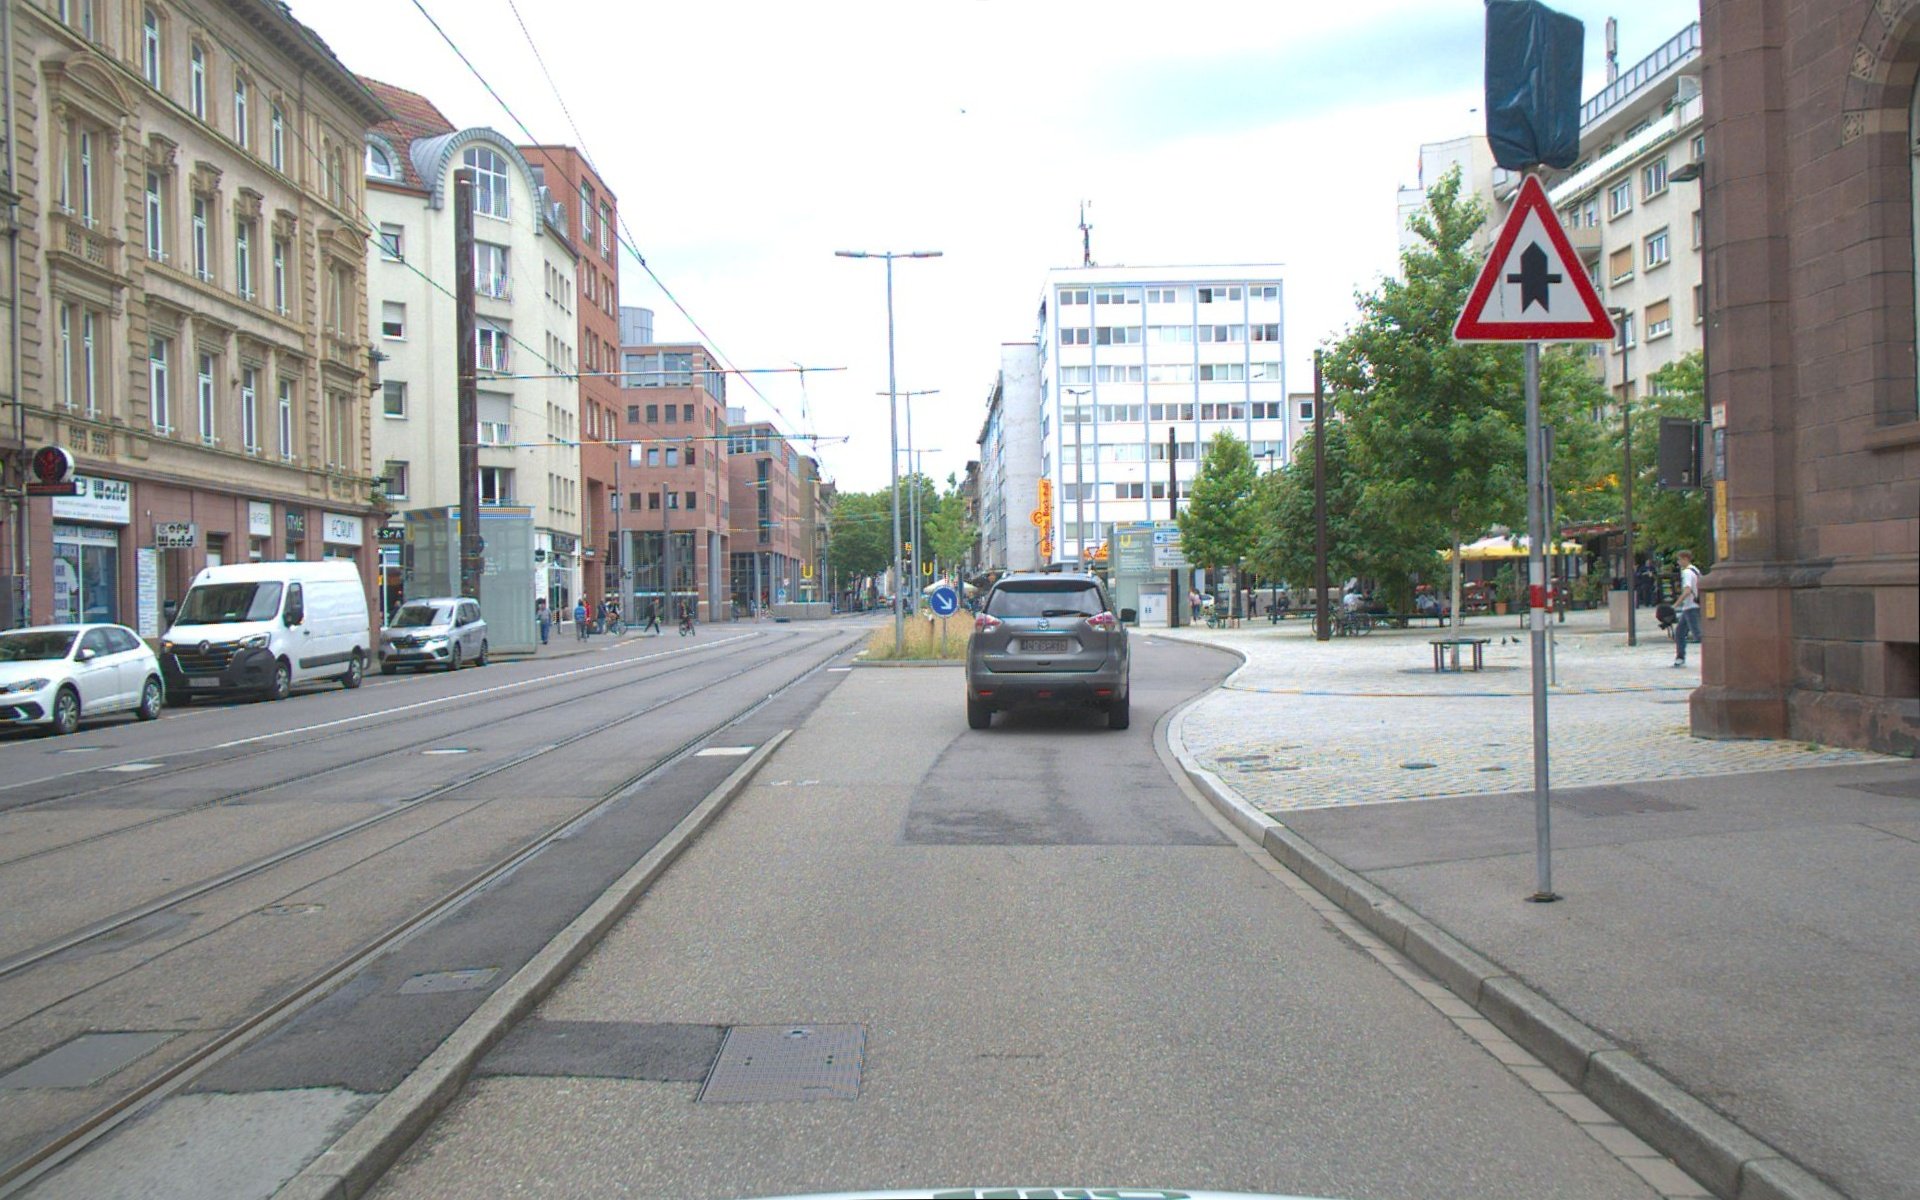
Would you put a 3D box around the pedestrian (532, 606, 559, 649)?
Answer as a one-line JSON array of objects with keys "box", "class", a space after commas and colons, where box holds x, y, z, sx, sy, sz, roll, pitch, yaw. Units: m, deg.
[{"box": [-16.698, 1.106, 66.629, 0.705, 1.716, 0.825, -2, -2, 17], "class": "pedestrian"}]

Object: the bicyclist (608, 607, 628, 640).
[{"box": [-16.478, 1.127, 79.657, 0.792, 1.567, 0.493, -2, -1, 8], "class": "bicyclist"}]

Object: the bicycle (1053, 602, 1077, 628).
[{"box": [4.469, 0.637, 70.511, 0.883, 1.063, 3.278, -1, 0, 1], "class": "bicycle"}]

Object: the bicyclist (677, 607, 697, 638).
[{"box": [-12.835, 1.068, 77.744, 0.797, 1.431, 0.478, -2, -1, 41], "class": "bicyclist"}]

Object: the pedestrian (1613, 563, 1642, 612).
[{"box": [24.994, -0.467, 61.904, 0.760, 1.782, 0.715, -4, 0, 37], "class": "pedestrian"}]

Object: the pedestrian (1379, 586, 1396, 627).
[{"box": [14.649, 0.219, 56.654, 0.531, 1.390, 1.281, -1, 0, 16], "class": "pedestrian"}]

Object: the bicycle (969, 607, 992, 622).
[{"box": [1.584, 1.093, 125.891, 1.667, 1.084, 0.435, 0, -1, -15], "class": "bicycle"}]

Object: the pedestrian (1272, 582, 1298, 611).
[{"box": [15.169, -0.168, 77.233, 1.022, 1.319, 0.733, -3, -1, 4], "class": "pedestrian"}]

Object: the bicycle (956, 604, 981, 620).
[{"box": [0.644, 0.916, 126.158, 1.835, 1.192, 0.529, 0, -1, -14], "class": "bicycle"}]

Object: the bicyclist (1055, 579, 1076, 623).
[{"box": [4.492, 0.036, 70.568, 0.817, 1.844, 0.877, 0, -1, 1], "class": "bicyclist"}]

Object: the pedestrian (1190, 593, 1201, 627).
[{"box": [11.050, 0.458, 77.659, 0.424, 1.583, 0.499, 0, -1, -1], "class": "pedestrian"}]

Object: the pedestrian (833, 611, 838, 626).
[{"box": [-14.826, 2.240, 197.001, 0.589, 1.744, 0.654, 0, -1, -9], "class": "pedestrian"}]

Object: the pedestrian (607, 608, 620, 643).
[{"box": [-16.899, 1.236, 80.667, 0.558, 1.713, 0.798, 0, -2, -6], "class": "pedestrian"}]

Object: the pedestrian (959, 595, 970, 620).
[{"box": [0.374, 0.581, 128.786, 0.699, 1.864, 1.015, 0, -1, -9], "class": "pedestrian"}]

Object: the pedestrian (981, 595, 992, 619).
[{"box": [1.979, 0.527, 125.363, 0.718, 1.776, 0.662, 0, -1, -9], "class": "pedestrian"}]

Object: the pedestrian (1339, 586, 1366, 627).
[{"box": [13.287, 0.221, 55.960, 0.618, 1.390, 0.683, 0, -1, -20], "class": "pedestrian"}]

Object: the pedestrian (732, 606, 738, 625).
[{"box": [-18.065, 1.231, 132.783, 0.442, 1.559, 0.519, 0, -1, -19], "class": "pedestrian"}]

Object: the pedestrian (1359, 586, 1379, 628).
[{"box": [13.910, 0.243, 56.280, 0.614, 1.390, 0.920, -1, -1, 16], "class": "pedestrian"}]

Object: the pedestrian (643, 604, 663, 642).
[{"box": [-15.360, 1.152, 82.768, 0.879, 1.923, 0.798, 0, -2, -4], "class": "pedestrian"}]

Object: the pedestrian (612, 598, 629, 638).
[{"box": [-14.948, 0.811, 72.778, 0.649, 1.716, 0.720, -1, -2, -14], "class": "pedestrian"}]

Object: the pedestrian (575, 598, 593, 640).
[{"box": [-15.461, 0.780, 68.040, 0.648, 1.716, 0.721, -1, -2, -11], "class": "pedestrian"}]

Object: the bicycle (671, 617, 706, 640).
[{"box": [-12.765, 1.358, 77.686, 1.876, 1.039, 0.478, -2, -1, 40], "class": "bicycle"}]

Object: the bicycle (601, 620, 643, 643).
[{"box": [-16.275, 1.529, 79.651, 1.865, 1.039, 0.478, -2, -1, 8], "class": "bicycle"}]

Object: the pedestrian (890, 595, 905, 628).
[{"box": [-3.195, 0.597, 84.942, 0.729, 1.713, 0.798, 0, -2, -6], "class": "pedestrian"}]

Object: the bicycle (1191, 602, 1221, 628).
[{"box": [9.907, 0.602, 66.599, 0.645, 0.995, 1.752, -2, 0, 27], "class": "bicycle"}]

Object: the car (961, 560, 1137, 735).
[{"box": [1.131, 0.485, 19.557, 1.824, 1.806, 4.570, -1, 0, 5], "class": "car"}]

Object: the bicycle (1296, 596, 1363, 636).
[{"box": [10.726, 0.479, 48.045, 1.873, 1.142, 0.646, 0, -1, 9], "class": "bicycle"}]

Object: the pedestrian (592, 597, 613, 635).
[{"box": [-16.732, 0.756, 77.387, 0.854, 1.716, 0.659, -1, -2, -16], "class": "pedestrian"}]

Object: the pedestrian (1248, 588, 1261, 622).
[{"box": [15.460, 0.265, 86.801, 0.657, 1.792, 0.642, -1, -1, 14], "class": "pedestrian"}]

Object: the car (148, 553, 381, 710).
[{"box": [-12.774, 0.540, 30.865, 2.012, 2.530, 5.663, -4, 0, -2], "class": "car"}]

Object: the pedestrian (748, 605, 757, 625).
[{"box": [-19.145, 1.401, 152.603, 0.723, 1.874, 0.696, 0, -1, -26], "class": "pedestrian"}]

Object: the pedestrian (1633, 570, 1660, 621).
[{"box": [26.019, -0.153, 62.701, 0.760, 1.918, 0.849, -1, -1, 37], "class": "pedestrian"}]

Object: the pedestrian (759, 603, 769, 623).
[{"box": [-18.278, 1.229, 154.470, 0.685, 1.874, 0.735, -1, -1, 15], "class": "pedestrian"}]

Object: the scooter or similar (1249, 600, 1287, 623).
[{"box": [14.461, 0.534, 77.594, 1.561, 0.965, 0.722, -4, -1, 37], "class": "scooter or similar"}]

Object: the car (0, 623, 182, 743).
[{"box": [-12.615, 1.115, 22.957, 1.736, 1.447, 4.162, -4, 0, -3], "class": "car"}]

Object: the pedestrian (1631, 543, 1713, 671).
[{"box": [11.123, 0.111, 25.854, 0.852, 1.934, 0.772, -3, 0, -3], "class": "pedestrian"}]

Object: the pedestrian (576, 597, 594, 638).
[{"box": [-16.093, 0.770, 70.945, 0.708, 1.716, 0.660, -1, -2, -12], "class": "pedestrian"}]

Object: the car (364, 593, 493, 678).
[{"box": [-13.141, 0.848, 41.199, 1.865, 1.897, 4.517, -3, 0, -3], "class": "car"}]

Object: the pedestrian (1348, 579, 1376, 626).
[{"box": [16.017, 0.114, 65.909, 0.699, 1.833, 1.077, -4, -1, -2], "class": "pedestrian"}]

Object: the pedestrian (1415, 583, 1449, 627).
[{"box": [15.096, 0.167, 52.893, 0.615, 1.390, 1.409, 0, 0, -2], "class": "pedestrian"}]
